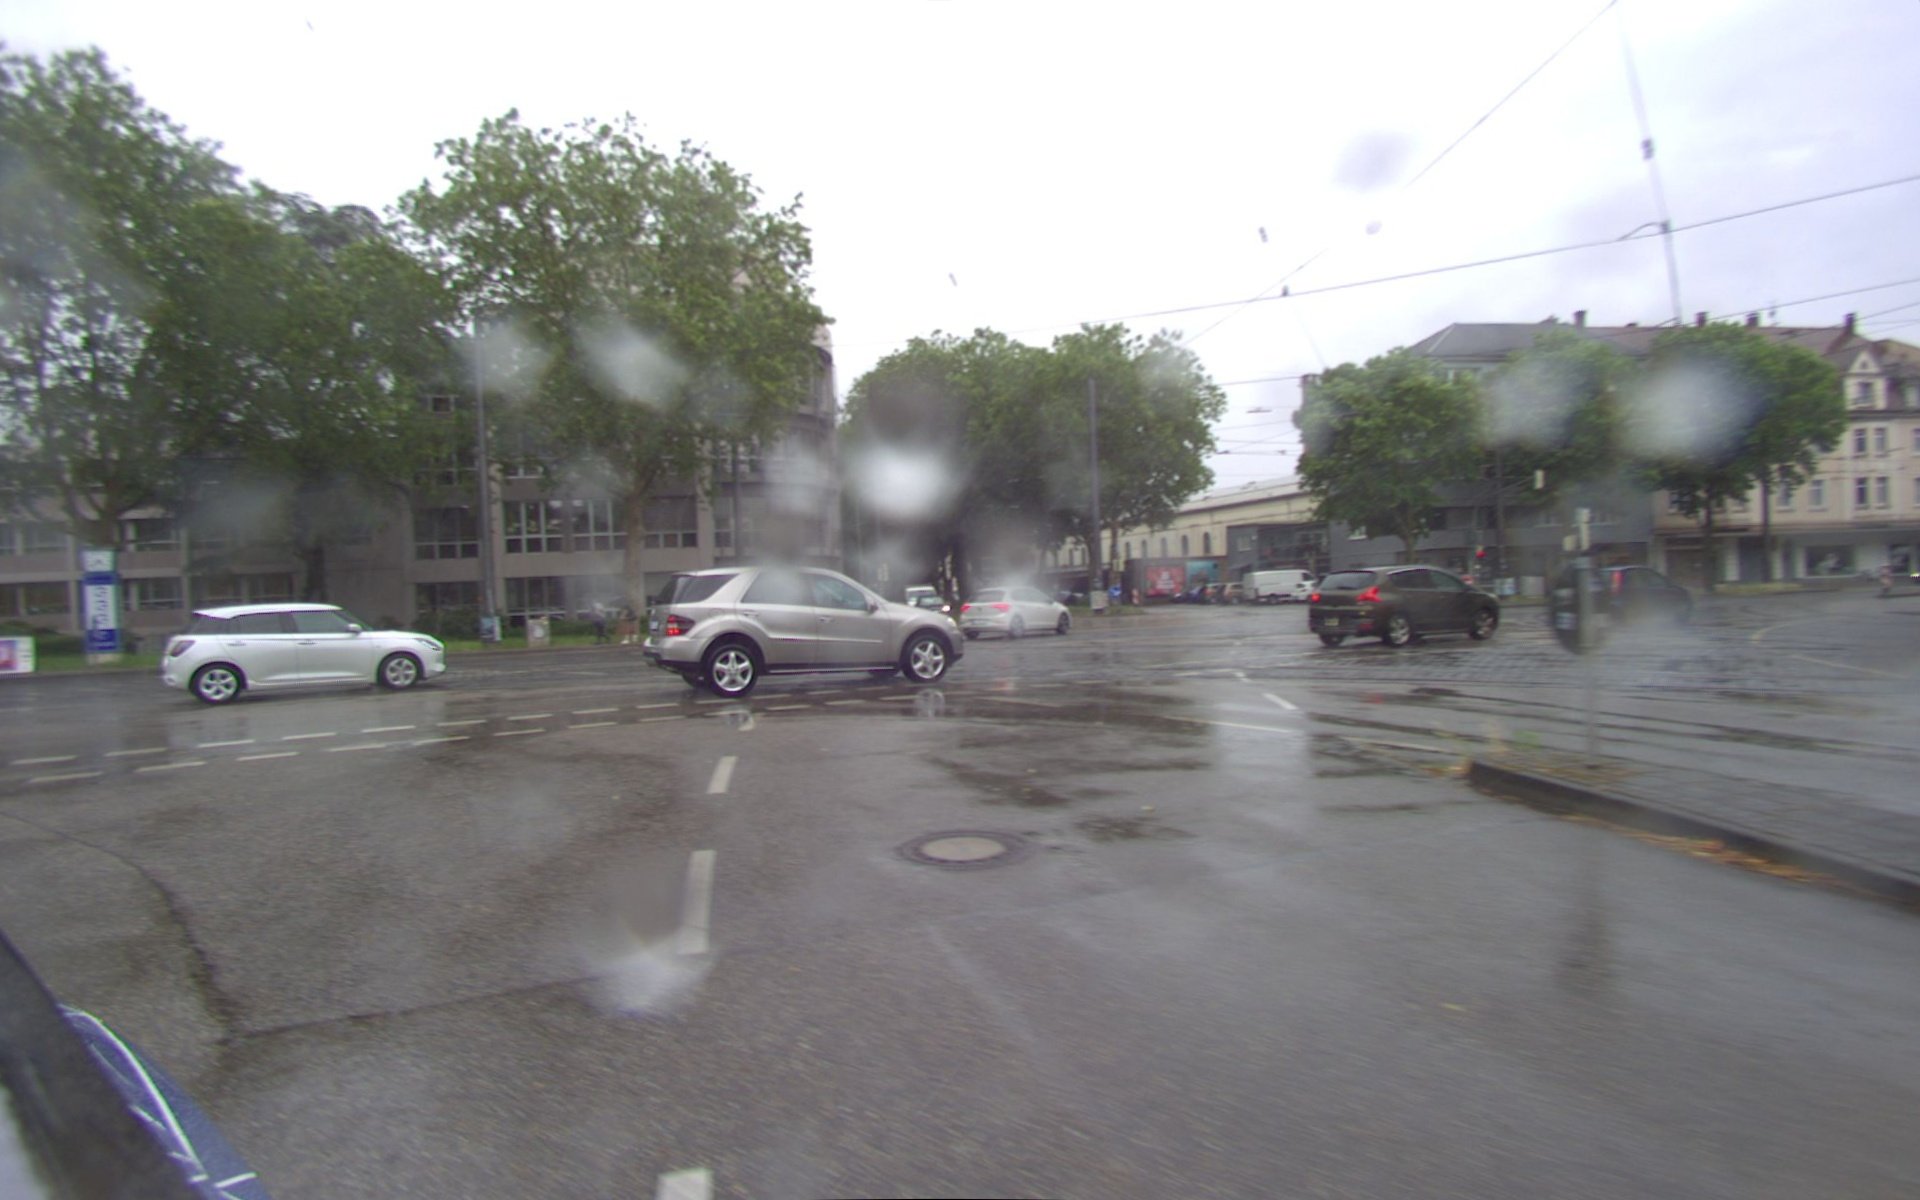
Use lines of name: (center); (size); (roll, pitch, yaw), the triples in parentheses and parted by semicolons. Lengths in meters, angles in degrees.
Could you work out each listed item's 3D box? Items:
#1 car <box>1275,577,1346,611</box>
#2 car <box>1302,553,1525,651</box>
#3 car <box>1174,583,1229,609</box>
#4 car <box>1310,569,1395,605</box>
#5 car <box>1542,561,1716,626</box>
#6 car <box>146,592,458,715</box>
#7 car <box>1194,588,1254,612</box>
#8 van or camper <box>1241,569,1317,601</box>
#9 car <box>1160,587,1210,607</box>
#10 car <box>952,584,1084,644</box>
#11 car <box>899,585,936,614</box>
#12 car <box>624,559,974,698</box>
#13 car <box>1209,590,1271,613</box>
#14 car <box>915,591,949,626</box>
car: (23.285, -0.396, 67.232); (3.932, 2.028, 2.006); (-3, 1, -17)
car: (9.132, -0.013, 20.370); (4.118, 1.722, 1.813); (-3, 2, -25)
car: (19.626, -0.357, 82.328); (3.944, 1.943, 2.000); (-2, 1, 1)
car: (23.993, -0.790, 61.982); (4.332, 2.028, 2.069); (-2, 1, -3)
car: (16.176, -0.132, 24.469); (3.765, 1.470, 1.895); (1, 0, -27)
car: (-10.537, 0.762, 16.360); (4.009, 1.599, 1.811); (-3, 1, -39)
car: (20.632, 0.013, 79.105); (3.937, 1.626, 2.004); (-3, 1, -8)
van or camper: (21.940, -1.028, 69.702); (4.579, 2.091, 2.004); (-1, 0, -10)
car: (19.701, -0.263, 88.639); (3.940, 1.668, 1.788); (0, 1, -3)
car: (1.756, 0.371, 29.400); (1.809, 1.548, 4.139); (-2, 1, 37)
car: (-2.758, -0.028, 64.812); (1.973, 1.785, 4.007); (-1, 0, -8)
car: (-2.308, 0.317, 14.725); (4.599, 1.659, 1.920); (-3, 2, -27)
car: (20.777, 0.104, 75.041); (3.936, 1.626, 2.004); (0, 0, -8)
car: (-1.601, 0.475, 57.825); (1.778, 1.785, 4.001); (-4, 1, -1)
